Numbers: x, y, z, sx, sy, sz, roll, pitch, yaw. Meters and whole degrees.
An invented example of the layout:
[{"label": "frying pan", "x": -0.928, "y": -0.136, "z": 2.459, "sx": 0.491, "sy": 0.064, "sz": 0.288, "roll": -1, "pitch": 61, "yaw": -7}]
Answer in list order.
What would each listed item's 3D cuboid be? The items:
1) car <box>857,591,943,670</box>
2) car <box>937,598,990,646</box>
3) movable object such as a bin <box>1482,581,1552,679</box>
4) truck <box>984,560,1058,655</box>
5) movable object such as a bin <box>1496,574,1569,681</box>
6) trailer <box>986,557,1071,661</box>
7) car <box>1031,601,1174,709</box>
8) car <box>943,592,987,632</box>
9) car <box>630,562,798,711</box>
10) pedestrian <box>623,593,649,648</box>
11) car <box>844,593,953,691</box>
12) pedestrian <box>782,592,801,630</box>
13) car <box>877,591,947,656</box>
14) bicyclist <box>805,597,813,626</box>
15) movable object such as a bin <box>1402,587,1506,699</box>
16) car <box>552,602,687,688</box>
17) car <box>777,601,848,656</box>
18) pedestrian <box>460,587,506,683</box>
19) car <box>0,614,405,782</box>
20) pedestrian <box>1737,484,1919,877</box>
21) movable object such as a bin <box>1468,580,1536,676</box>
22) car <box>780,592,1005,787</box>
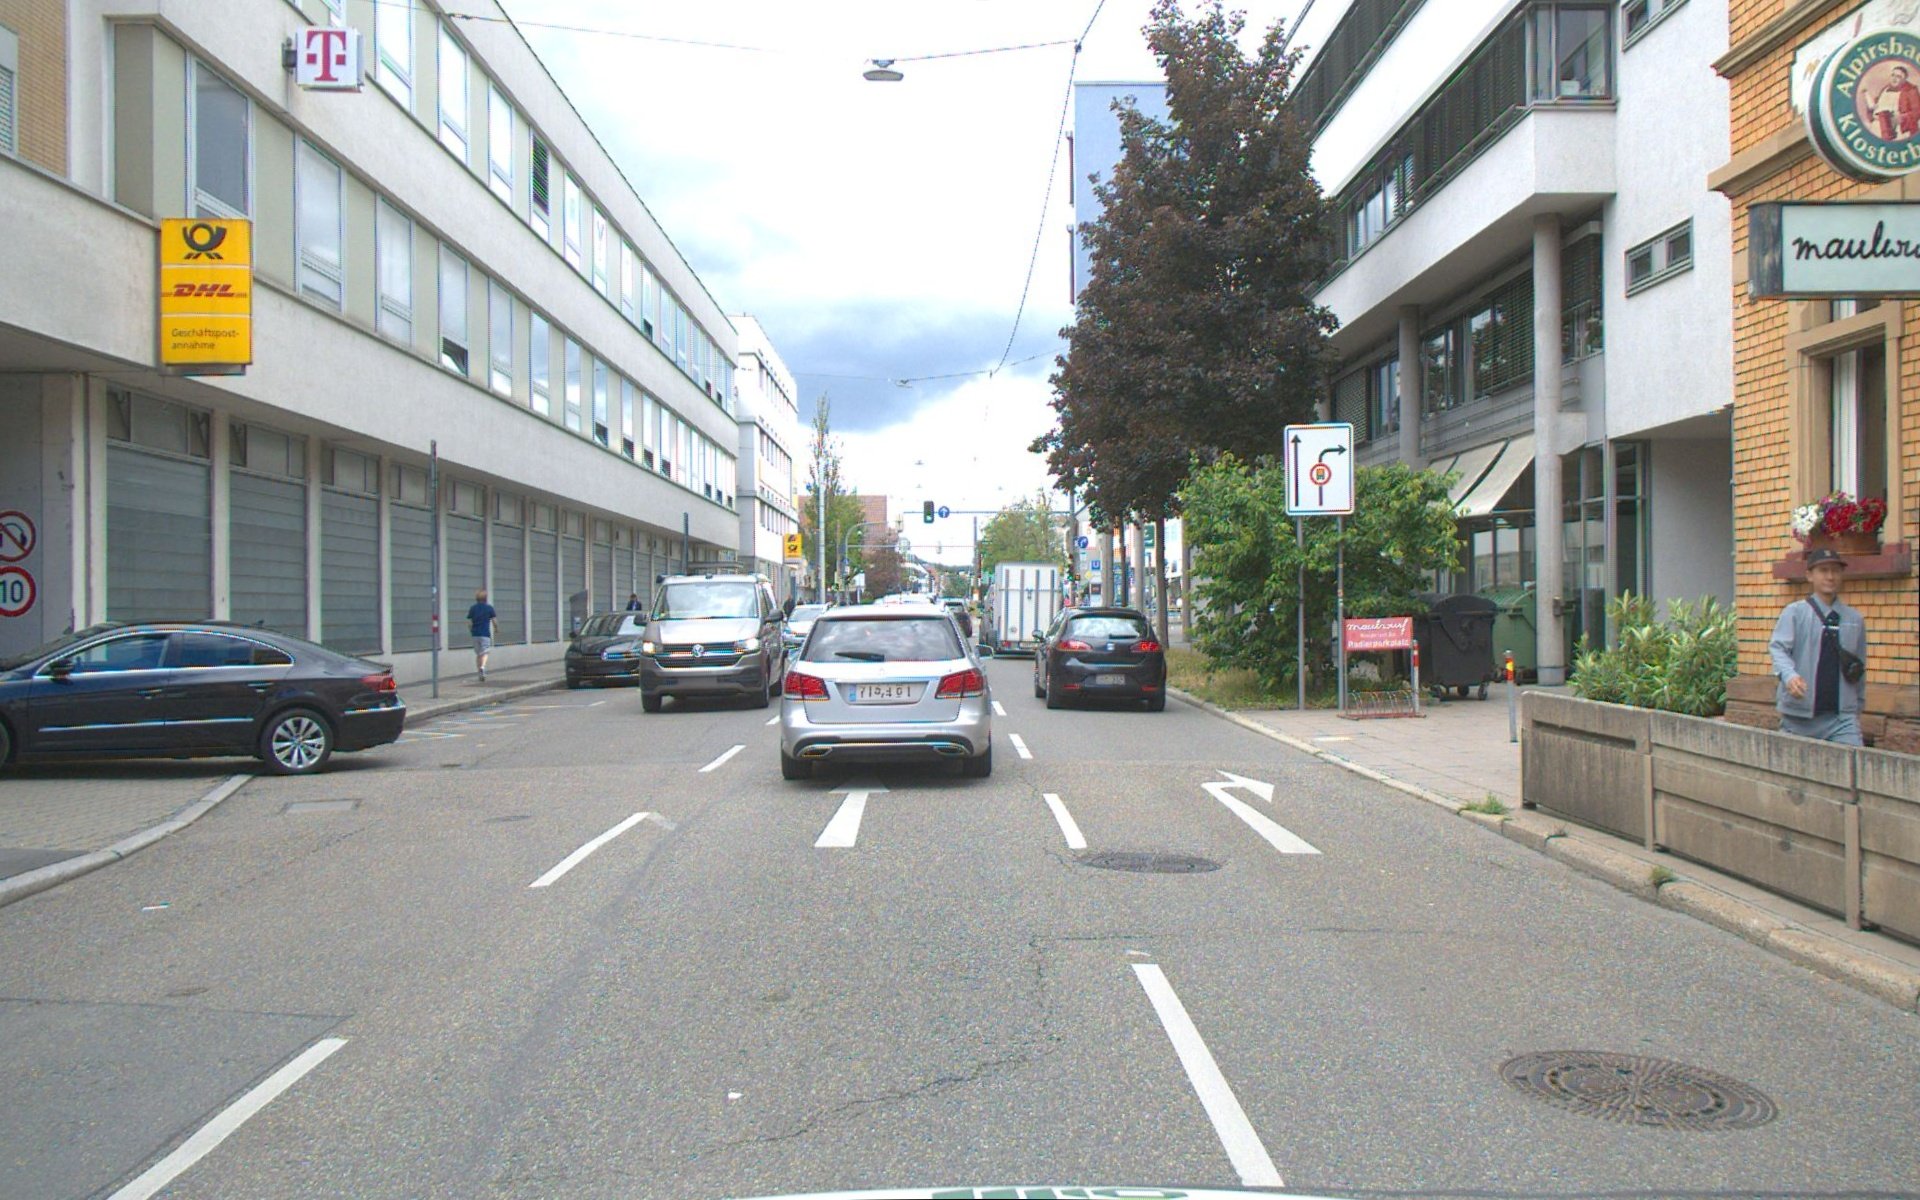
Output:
[{"label": "car", "x": -1.279, "y": 0.627, "z": 35.987, "sx": 1.767, "sy": 1.629, "sz": 3.736, "roll": 1, "pitch": 0, "yaw": -1}, {"label": "car", "x": 0.090, "y": 0.744, "z": 57.750, "sx": 1.767, "sy": 1.629, "sz": 3.736, "roll": 1, "pitch": 0, "yaw": -1}, {"label": "movable object such as a bin", "x": 8.990, "y": 0.477, "z": 26.698, "sx": 0.804, "sy": 1.516, "sz": 0.732, "roll": -3, "pitch": -1, "yaw": 0}, {"label": "truck", "x": 1.731, "y": 0.215, "z": 48.008, "sx": 1.953, "sy": 2.653, "sz": 3.259, "roll": -1, "pitch": 0, "yaw": -1}, {"label": "movable object such as a bin", "x": 8.969, "y": 0.437, "z": 25.942, "sx": 0.804, "sy": 1.617, "sz": 0.732, "roll": -3, "pitch": -1, "yaw": 0}, {"label": "trailer", "x": 1.798, "y": 0.226, "z": 45.227, "sx": 1.953, "sy": 2.653, "sz": 5.347, "roll": -1, "pitch": 0, "yaw": -1}, {"label": "car", "x": 2.053, "y": 0.758, "z": 24.779, "sx": 1.730, "sy": 1.458, "sz": 3.827, "roll": 0, "pitch": 0, "yaw": -1}, {"label": "car", "x": 0.210, "y": 0.489, "z": 70.542, "sx": 1.767, "sy": 1.629, "sz": 3.736, "roll": 1, "pitch": 0, "yaw": -1}, {"label": "car", "x": -3.707, "y": 0.516, "z": 25.789, "sx": 1.953, "sy": 2.049, "sz": 4.901, "roll": -1, "pitch": 0, "yaw": -1}, {"label": "pedestrian", "x": -9.903, "y": 0.630, "z": 50.628, "sx": 0.642, "sy": 1.651, "sz": 0.681, "roll": 0, "pitch": 0, "yaw": 0}, {"label": "car", "x": -1.052, "y": 0.689, "z": 28.903, "sx": 1.767, "sy": 1.580, "sz": 3.736, "roll": -1, "pitch": 0, "yaw": -1}, {"label": "pedestrian", "x": -8.404, "y": 0.537, "z": 82.513, "sx": 0.899, "sy": 1.901, "sz": 0.783, "roll": 0, "pitch": 0, "yaw": -2}, {"label": "car", "x": -1.252, "y": 0.599, "z": 43.739, "sx": 1.767, "sy": 1.629, "sz": 3.736, "roll": 1, "pitch": 0, "yaw": -1}, {"label": "bicyclist", "x": -9.231, "y": 0.706, "z": 101.312, "sx": 0.436, "sy": 1.727, "sz": 0.555, "roll": 1, "pitch": -1, "yaw": -1}, {"label": "movable object such as a bin", "x": 6.934, "y": 0.588, "z": 23.281, "sx": 0.924, "sy": 1.496, "sz": 1.445, "roll": -2, "pitch": 0, "yaw": -3}, {"label": "car", "x": -6.750, "y": 0.846, "z": 33.208, "sx": 1.874, "sy": 1.543, "sz": 4.174, "roll": -2, "pitch": 0, "yaw": -1}, {"label": "car", "x": -4.218, "y": 0.791, "z": 47.797, "sx": 1.733, "sy": 1.438, "sz": 4.174, "roll": -2, "pitch": 0, "yaw": -1}, {"label": "pedestrian", "x": -9.103, "y": 0.665, "z": 31.594, "sx": 0.629, "sy": 1.800, "sz": 0.809, "roll": 0, "pitch": 0, "yaw": -1}, {"label": "car", "x": -7.648, "y": 0.859, "z": 15.583, "sx": 4.353, "sy": 1.389, "sz": 1.767, "roll": 0, "pitch": 0, "yaw": -31}, {"label": "pedestrian", "x": 4.746, "y": 0.418, "z": 9.006, "sx": 0.679, "sy": 2.049, "sz": 0.676, "roll": 0, "pitch": 0, "yaw": -2}, {"label": "movable object such as a bin", "x": 8.987, "y": 0.472, "z": 27.455, "sx": 0.804, "sy": 1.530, "sz": 0.732, "roll": -3, "pitch": -1, "yaw": 0}, {"label": "car", "x": -0.572, "y": 0.705, "z": 14.932, "sx": 1.767, "sy": 1.519, "sz": 3.736, "roll": -1, "pitch": 0, "yaw": -1}]
